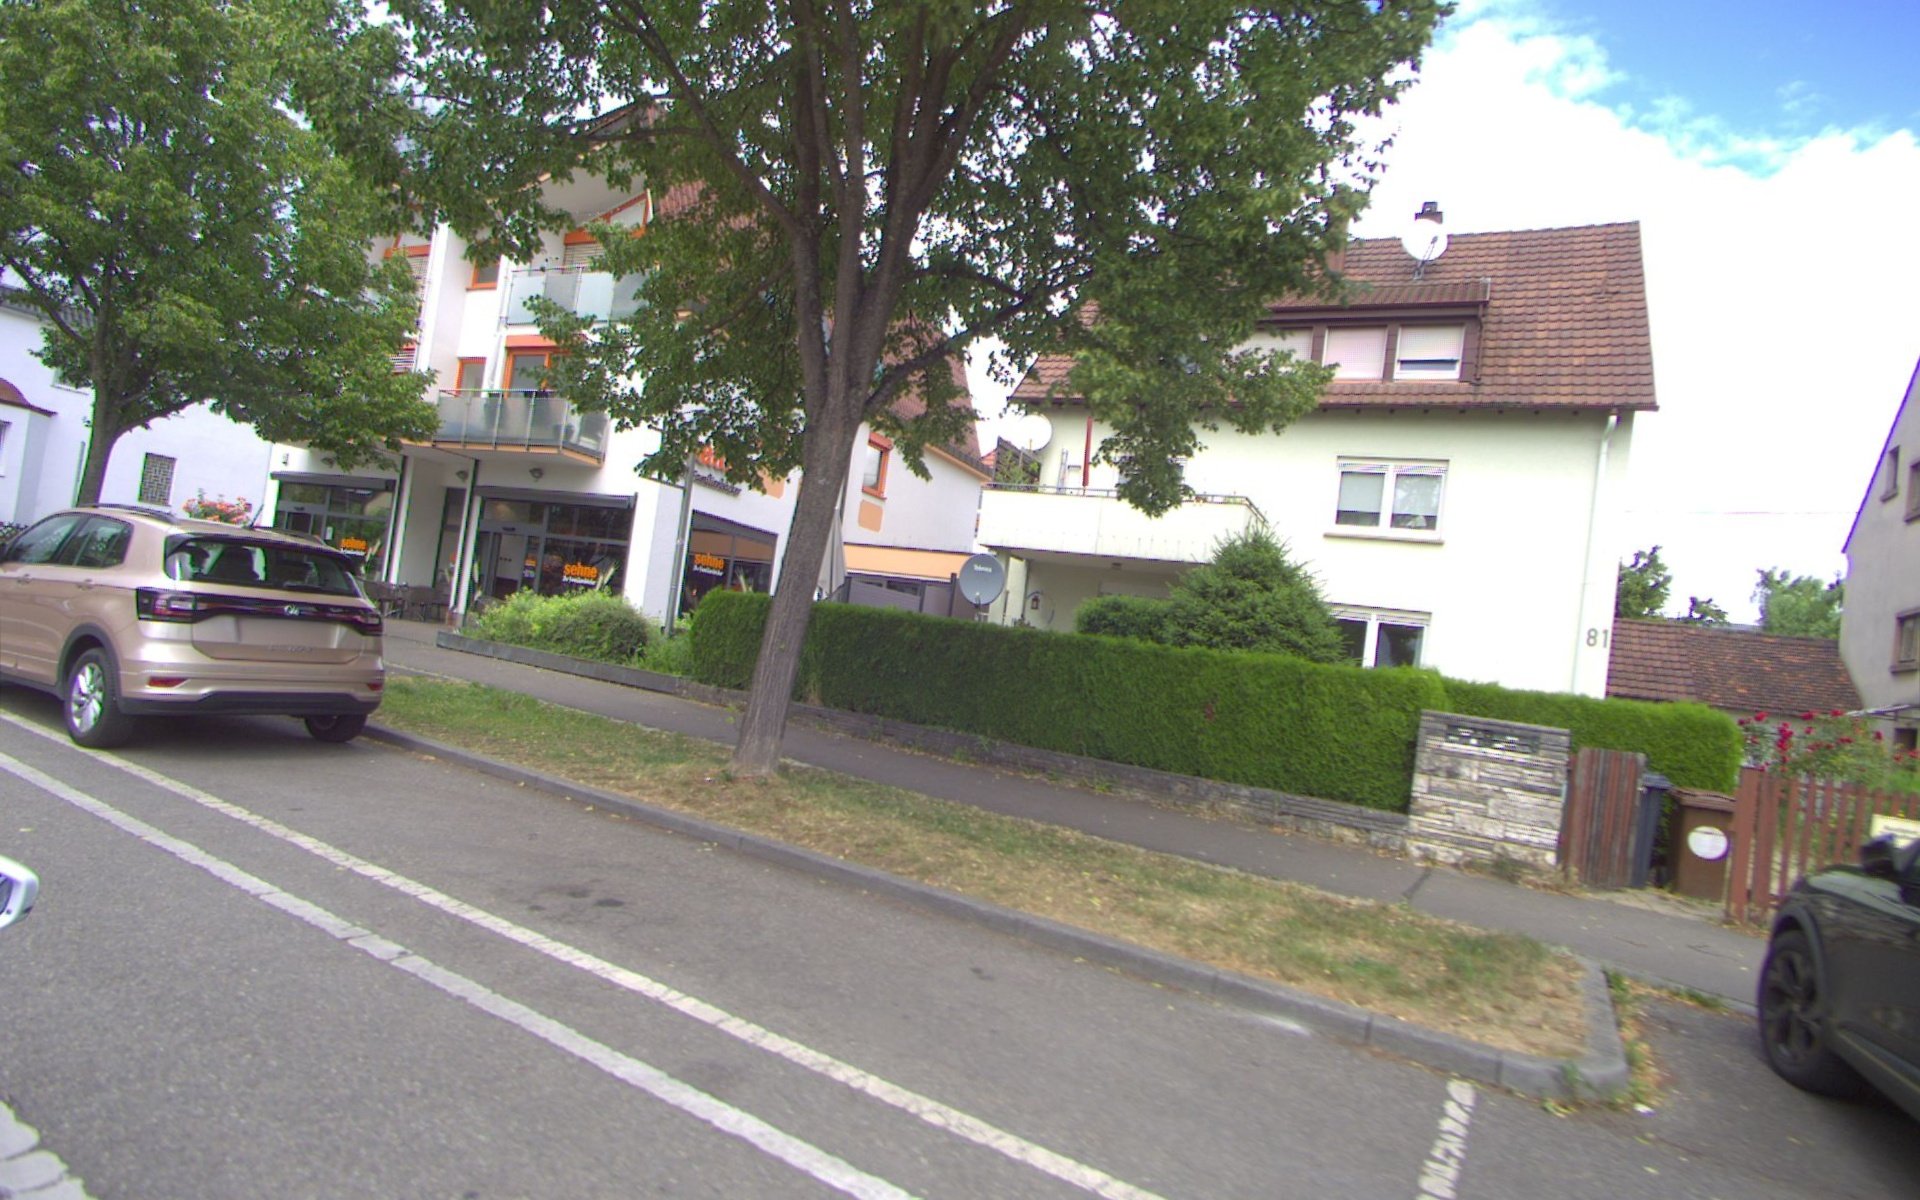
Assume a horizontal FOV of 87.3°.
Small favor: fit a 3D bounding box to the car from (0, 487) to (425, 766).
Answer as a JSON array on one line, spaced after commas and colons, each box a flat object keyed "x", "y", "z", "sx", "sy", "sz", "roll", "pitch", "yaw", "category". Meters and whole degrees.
[{"x": -6.315, "y": 0.102, "z": 7.831, "sx": 3.990, "sy": 1.598, "sz": 1.727, "roll": 7, "pitch": -2, "yaw": 28, "category": "car"}]

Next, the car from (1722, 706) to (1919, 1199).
[{"x": 3.919, "y": 1.291, "z": 2.919, "sx": 1.663, "sy": 1.657, "sz": 4.230, "roll": 7, "pitch": -1, "yaw": 25, "category": "car"}]
